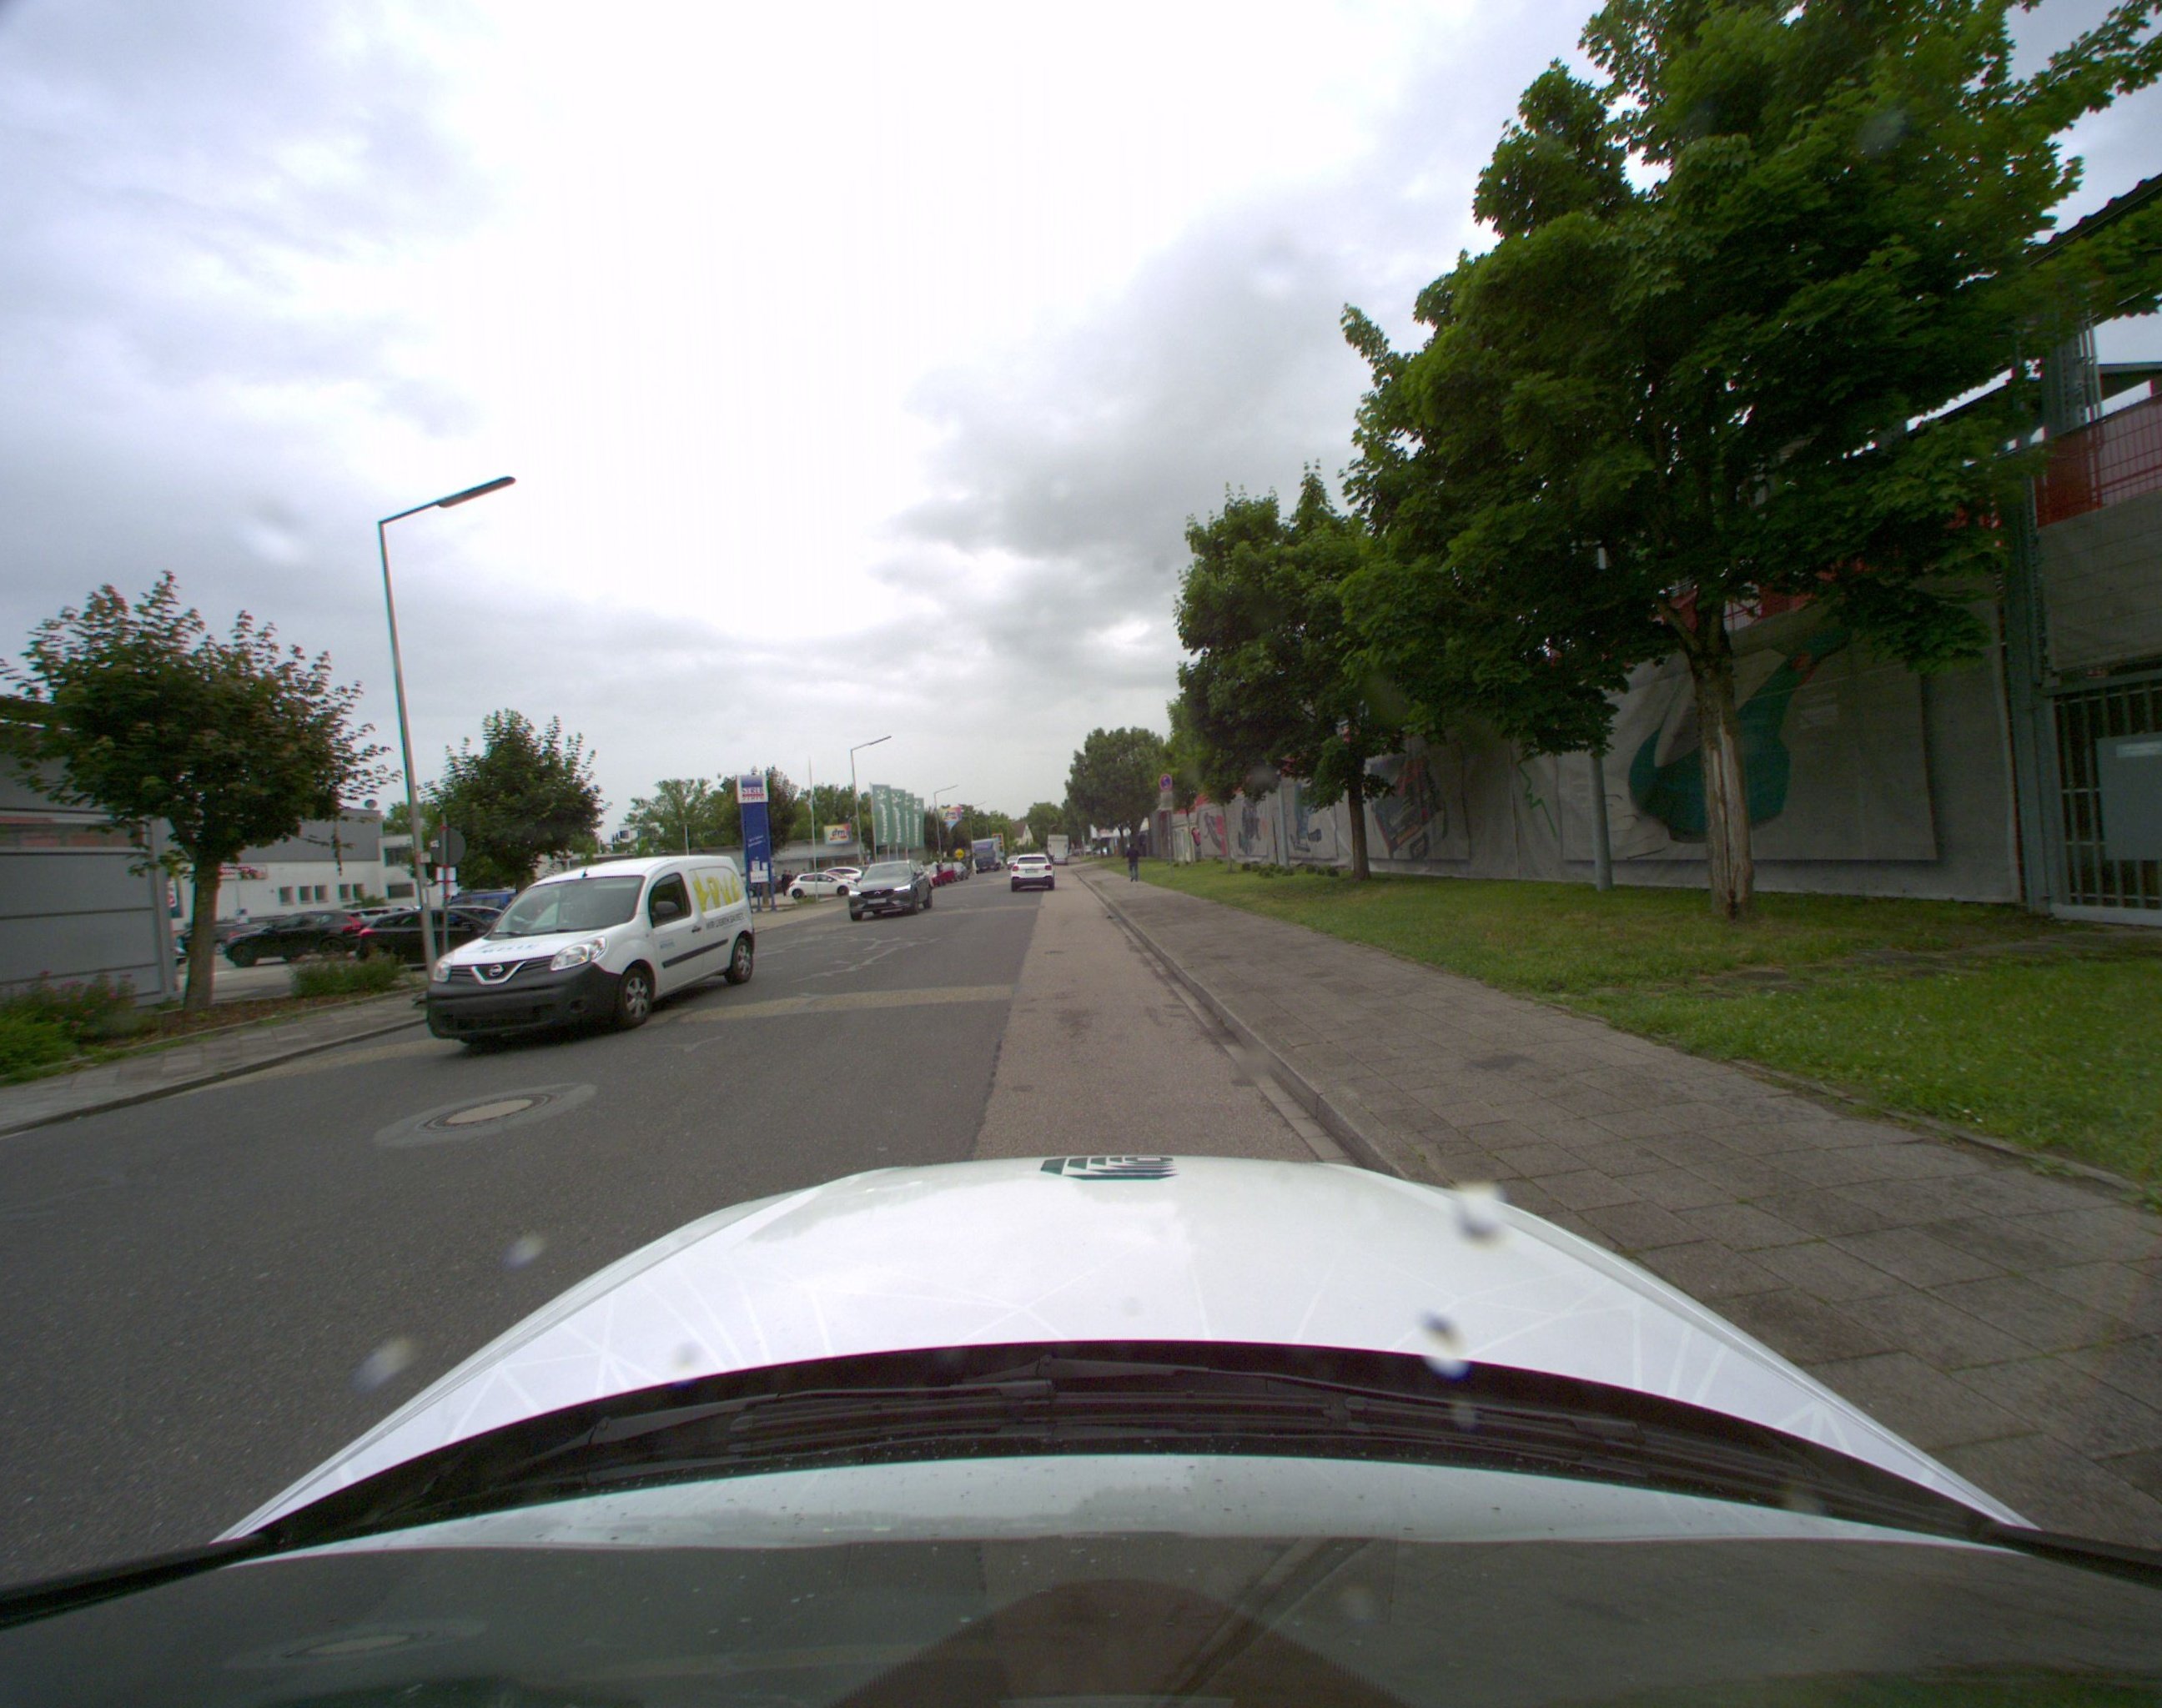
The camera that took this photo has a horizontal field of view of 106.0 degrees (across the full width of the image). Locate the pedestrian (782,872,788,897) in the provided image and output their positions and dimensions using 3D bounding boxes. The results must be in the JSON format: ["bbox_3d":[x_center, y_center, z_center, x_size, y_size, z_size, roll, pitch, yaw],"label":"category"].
[{"bbox_3d":[-20.547,2.102,56.552,0.263,1.729,0.420,-5,0,-14],"label":"pedestrian"}]

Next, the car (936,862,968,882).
[{"bbox_3d":[-10.125,1.394,64.078,1.893,1.367,3.997,-5,0,-2],"label":"car"}]

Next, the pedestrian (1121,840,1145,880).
[{"bbox_3d":[2.255,0.266,35.297,0.916,1.635,0.852,-3,-1,0],"label":"pedestrian"}]

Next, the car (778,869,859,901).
[{"bbox_3d":[-15.453,1.830,48.205,4.203,1.463,1.946,-5,0,-10],"label":"car"}]

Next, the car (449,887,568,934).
[{"bbox_3d":[-26.357,2.573,37.614,3.977,1.669,1.875,-5,0,-2],"label":"car"}]

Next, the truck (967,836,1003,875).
[{"bbox_3d":[-10.699,0.156,91.571,2.966,3.955,6.401,-6,0,-1],"label":"truck"}]

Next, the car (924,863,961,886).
[{"bbox_3d":[-9.855,1.429,58.194,1.893,1.367,3.997,-5,0,-2],"label":"car"}]

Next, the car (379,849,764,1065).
[{"bbox_3d":[-5.433,0.926,9.475,1.685,1.760,4.134,-7,0,0],"label":"car"}]

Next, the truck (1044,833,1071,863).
[{"bbox_3d":[-3.149,-0.713,106.371,3.128,3.584,10.038,-3,0,-3],"label":"truck"}]

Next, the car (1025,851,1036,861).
[{"bbox_3d":[-9.622,0.350,154.308,1.989,1.684,3.995,-3,0,-3],"label":"car"}]

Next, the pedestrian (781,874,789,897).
[{"bbox_3d":[-20.278,2.162,55.814,0.360,1.570,0.501,-5,0,-16],"label":"pedestrian"}]

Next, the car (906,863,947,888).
[{"bbox_3d":[-9.943,1.379,52.705,1.893,1.367,3.997,-5,0,-2],"label":"car"}]

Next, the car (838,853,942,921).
[{"bbox_3d":[-5.690,0.919,24.879,1.927,1.683,4.495,-6,0,0],"label":"car"}]

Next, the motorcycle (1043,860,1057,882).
[{"bbox_3d":[-1.787,0.961,47.746,0.639,1.178,2.113,-5,0,0],"label":"motorcycle"}]

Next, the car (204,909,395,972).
[{"bbox_3d":[-25.407,2.786,26.665,3.995,1.485,1.866,-5,0,-15],"label":"car"}]

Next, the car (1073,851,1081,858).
[{"bbox_3d":[-1.066,0.176,201.418,1.881,1.683,4.252,-3,0,-1],"label":"car"}]

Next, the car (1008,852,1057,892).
[{"bbox_3d":[-2.020,0.714,35.140,1.881,1.531,4.252,-3,0,-1],"label":"car"}]

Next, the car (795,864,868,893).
[{"bbox_3d":[-16.212,1.560,53.062,4.132,1.463,1.894,-5,0,-8],"label":"car"}]

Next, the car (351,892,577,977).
[{"bbox_3d":[-14.756,1.882,19.667,3.863,1.620,1.926,-3,0,-2],"label":"car"}]

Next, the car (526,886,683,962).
[{"bbox_3d":[-15.651,2.258,26.942,3.929,2.013,1.756,-5,0,-9],"label":"car"}]

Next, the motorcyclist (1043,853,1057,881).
[{"bbox_3d":[-1.817,0.763,47.795,0.623,1.554,0.604,-5,0,0],"label":"motorcyclist"}]

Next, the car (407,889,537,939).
[{"bbox_3d":[-26.104,2.533,35.004,3.977,1.669,1.875,-5,0,-2],"label":"car"}]

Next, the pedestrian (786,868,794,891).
[{"bbox_3d":[-20.264,1.796,56.717,0.330,1.570,0.501,-5,0,-16],"label":"pedestrian"}]

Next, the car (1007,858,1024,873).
[{"bbox_3d":[-7.568,1.306,93.966,1.594,1.528,3.526,-6,0,-1],"label":"car"}]

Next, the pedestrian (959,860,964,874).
[{"bbox_3d":[-13.748,1.502,93.518,0.401,1.531,0.484,-5,0,-8],"label":"pedestrian"}]

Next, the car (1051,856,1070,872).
[{"bbox_3d":[-2.466,1.206,97.390,1.989,1.806,3.995,-3,-1,-3],"label":"car"}]

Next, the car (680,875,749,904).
[{"bbox_3d":[-26.427,2.575,58.843,3.977,1.669,1.875,-5,0,-2],"label":"car"}]

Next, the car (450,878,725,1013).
[{"bbox_3d":[-8.045,1.380,13.904,1.942,1.526,4.399,-9,0,-2],"label":"car"}]

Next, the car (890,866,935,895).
[{"bbox_3d":[-9.525,1.456,46.292,1.895,1.367,3.993,-5,0,-5],"label":"car"}]
